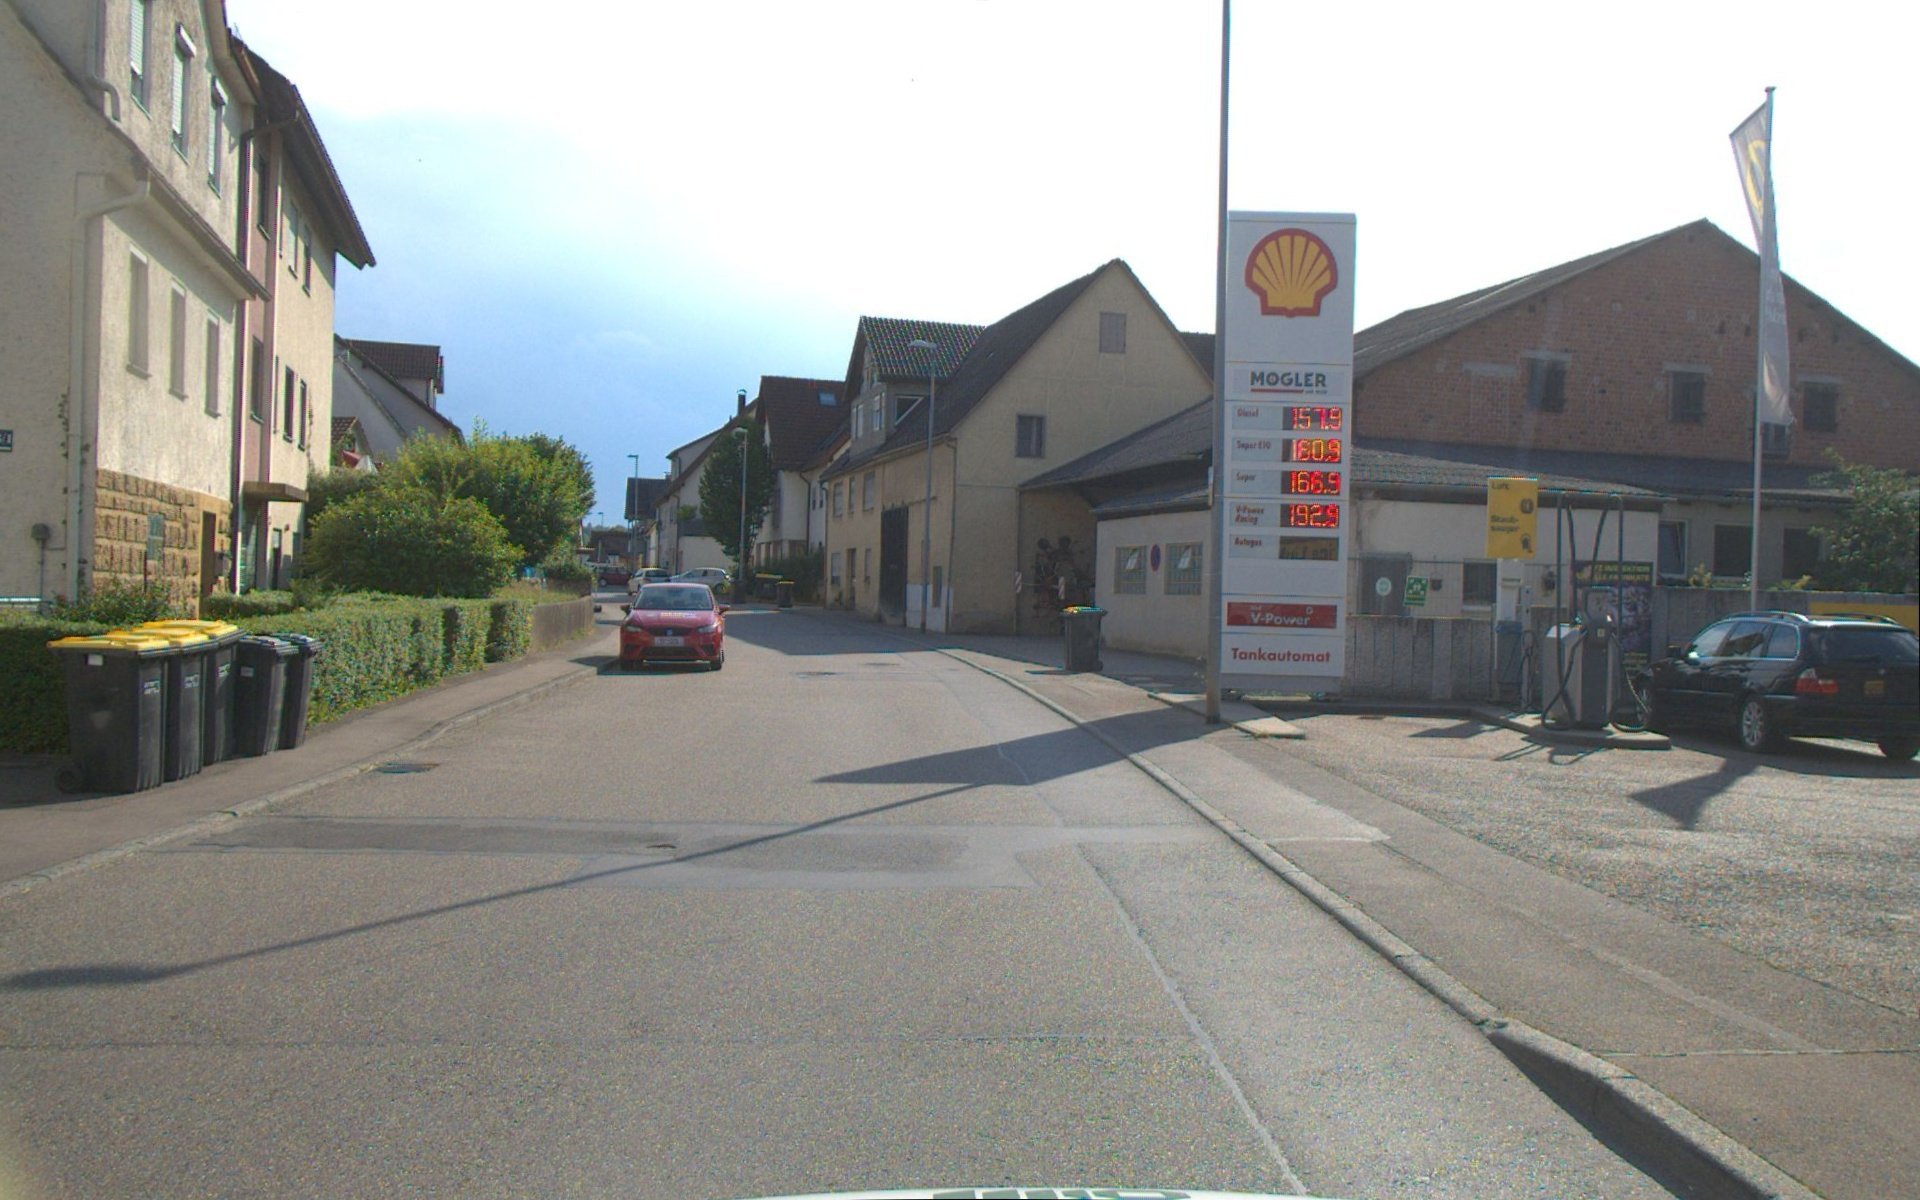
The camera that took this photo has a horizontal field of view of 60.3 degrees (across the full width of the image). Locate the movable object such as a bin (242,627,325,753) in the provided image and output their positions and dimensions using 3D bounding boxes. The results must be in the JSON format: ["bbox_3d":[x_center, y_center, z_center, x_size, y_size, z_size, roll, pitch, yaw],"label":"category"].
[{"bbox_3d":[-5.772,0.761,14.123,0.520,1.040,0.457,0,0,-1],"label":"movable object such as a bin"}]

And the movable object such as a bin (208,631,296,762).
[{"bbox_3d":[-5.811,0.786,13.584,0.520,1.040,0.457,0,0,-1],"label":"movable object such as a bin"}]

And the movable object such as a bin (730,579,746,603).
[{"bbox_3d":[-10.213,-0.407,76.038,0.642,1.092,0.511,1,0,-16],"label":"movable object such as a bin"}]

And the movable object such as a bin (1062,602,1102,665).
[{"bbox_3d":[2.179,0.593,29.574,0.640,1.092,0.513,1,0,-4],"label":"movable object such as a bin"}]

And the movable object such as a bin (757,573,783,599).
[{"bbox_3d":[-8.964,-0.640,77.969,1.140,1.188,0.653,1,0,-13],"label":"movable object such as a bin"}]

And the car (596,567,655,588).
[{"bbox_3d":[-23.556,-1.574,116.462,3.922,1.376,1.703,1,0,-16],"label":"car"}]

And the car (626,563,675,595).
[{"bbox_3d":[-16.549,-1.127,88.257,1.683,1.606,3.970,1,1,-24],"label":"car"}]

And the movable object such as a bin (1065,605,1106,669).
[{"bbox_3d":[2.196,0.647,29.020,0.640,1.092,0.513,1,0,-4],"label":"movable object such as a bin"}]

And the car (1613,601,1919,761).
[{"bbox_3d":[8.943,0.797,18.295,1.546,1.452,4.380,2,1,-2],"label":"car"}]

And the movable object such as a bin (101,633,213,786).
[{"bbox_3d":[-6.002,0.809,12.380,0.576,1.103,0.529,0,0,-1],"label":"movable object such as a bin"}]

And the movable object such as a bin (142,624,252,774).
[{"bbox_3d":[-5.998,0.765,13.026,0.576,1.141,0.617,0,0,-1],"label":"movable object such as a bin"}]

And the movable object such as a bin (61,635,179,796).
[{"bbox_3d":[-5.974,0.810,11.786,0.576,1.103,0.508,0,0,-1],"label":"movable object such as a bin"}]

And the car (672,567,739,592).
[{"bbox_3d":[-15.095,-1.233,98.150,3.913,1.376,1.707,1,0,-9],"label":"car"}]

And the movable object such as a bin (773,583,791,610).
[{"bbox_3d":[-7.279,-0.139,67.719,0.642,1.092,0.511,1,0,-16],"label":"movable object such as a bin"}]

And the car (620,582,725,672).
[{"bbox_3d":[-4.975,0.431,29.004,1.676,1.460,3.773,0,0,-8],"label":"car"}]
